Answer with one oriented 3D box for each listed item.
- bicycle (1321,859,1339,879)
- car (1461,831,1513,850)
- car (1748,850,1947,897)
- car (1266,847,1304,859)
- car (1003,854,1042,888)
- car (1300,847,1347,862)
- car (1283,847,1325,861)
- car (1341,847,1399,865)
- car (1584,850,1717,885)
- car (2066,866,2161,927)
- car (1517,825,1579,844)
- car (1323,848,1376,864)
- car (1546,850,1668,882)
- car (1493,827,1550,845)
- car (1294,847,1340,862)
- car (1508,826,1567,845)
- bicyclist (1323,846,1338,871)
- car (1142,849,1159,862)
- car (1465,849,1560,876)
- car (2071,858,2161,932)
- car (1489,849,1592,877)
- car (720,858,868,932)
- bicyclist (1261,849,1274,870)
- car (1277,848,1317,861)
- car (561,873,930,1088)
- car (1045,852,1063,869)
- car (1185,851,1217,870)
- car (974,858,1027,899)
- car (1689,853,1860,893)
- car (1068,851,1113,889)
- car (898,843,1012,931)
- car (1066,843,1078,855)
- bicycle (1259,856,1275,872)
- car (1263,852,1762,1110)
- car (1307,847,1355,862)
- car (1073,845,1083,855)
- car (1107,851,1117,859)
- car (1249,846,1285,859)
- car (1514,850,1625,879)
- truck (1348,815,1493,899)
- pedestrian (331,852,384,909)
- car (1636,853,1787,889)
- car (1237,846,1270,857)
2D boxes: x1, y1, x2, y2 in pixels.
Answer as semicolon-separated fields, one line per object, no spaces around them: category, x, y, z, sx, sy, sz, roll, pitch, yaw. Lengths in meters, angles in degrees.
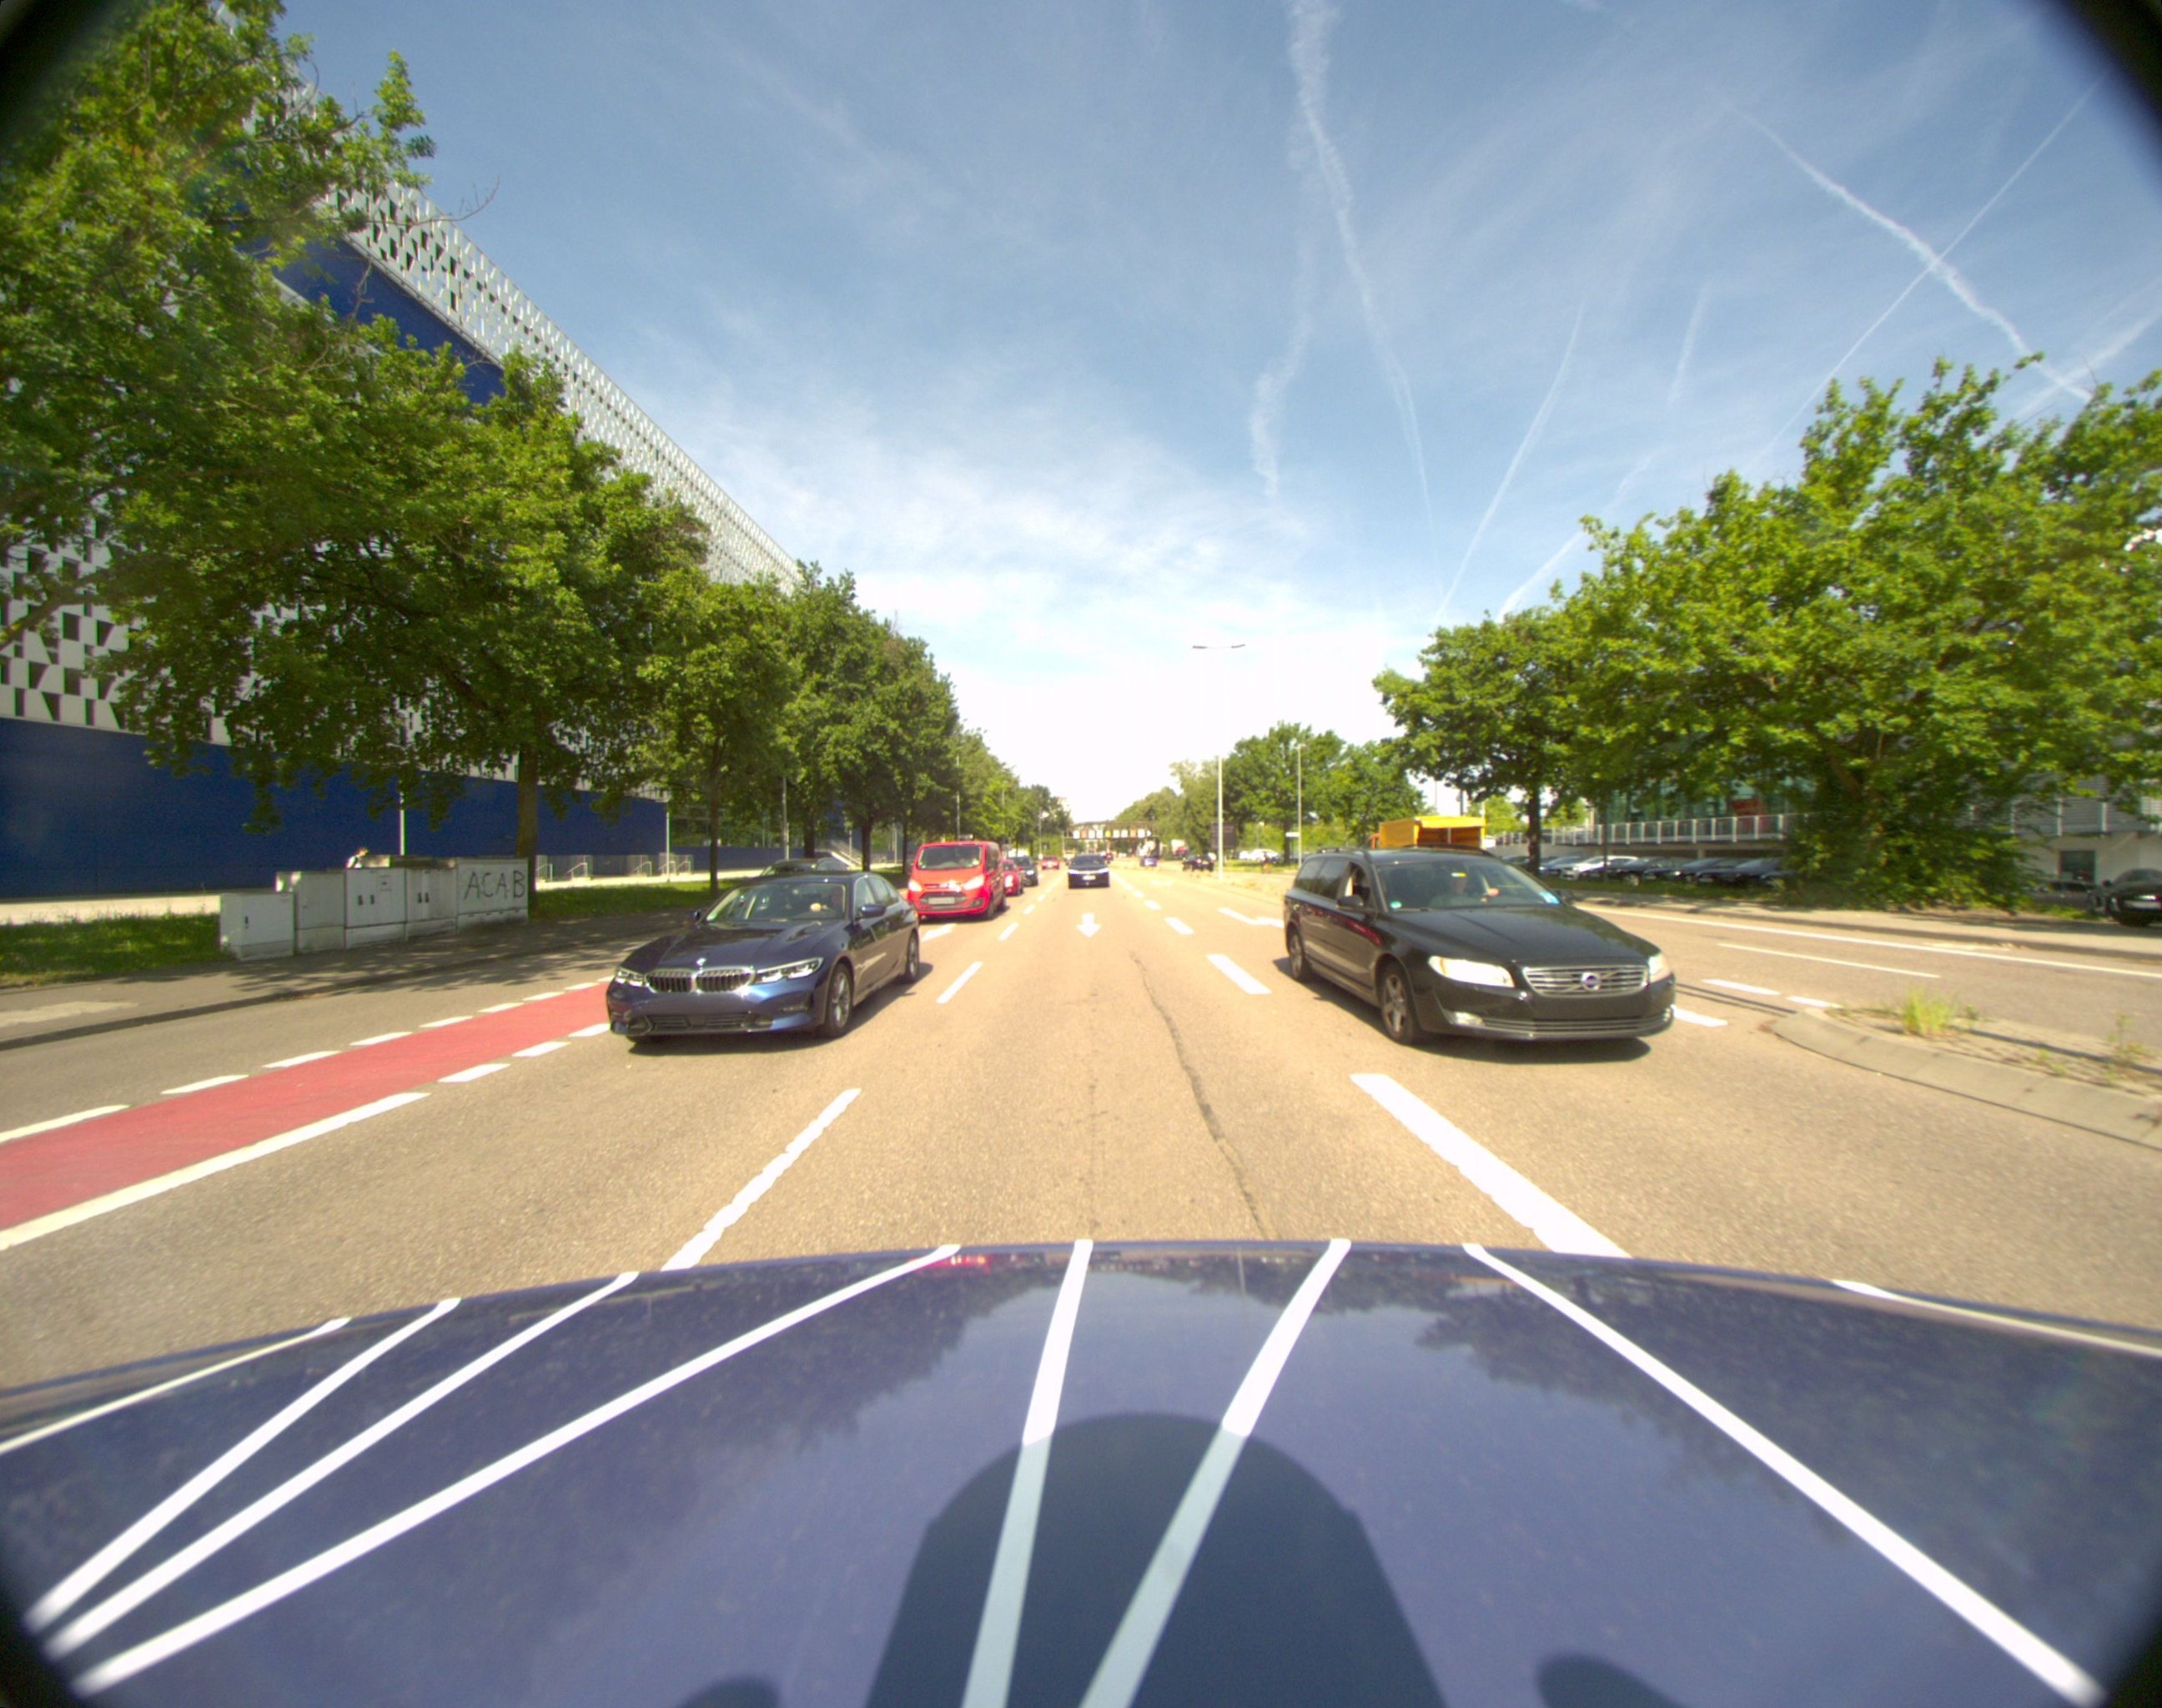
bicycle;14.634;0.852;44.702;0.572;1.143;1.925;0;1;3
car;40.474;-1.305;75.839;4.196;1.722;1.690;2;1;2
car;23.508;0.583;23.431;4.196;1.220;1.797;2;1;2
car;24.918;-0.107;93.032;4.196;1.315;1.690;2;1;2
car;-2.926;0.815;38.533;1.649;1.531;3.999;-3;0;-1
car;24.565;0.078;76.960;4.196;1.315;1.690;2;1;2
car;24.985;-0.003;85.195;4.196;1.315;1.690;2;1;2
car;24.356;0.188;64.197;4.196;1.315;1.690;2;1;2
car;23.602;0.548;31.595;4.196;1.239;1.690;2;1;2
car;25.979;0.983;18.439;1.685;1.325;3.848;0;0;39
car;40.094;-1.672;65.290;4.196;1.397;1.690;2;1;2
car;24.344;0.160;68.957;4.196;1.315;1.690;2;1;2
car;23.523;0.517;34.093;4.196;1.188;1.690;2;1;2
car;40.902;-1.677;70.643;4.196;1.490;1.690;2;1;2
car;24.805;0.043;79.973;4.196;1.315;1.690;2;1;2
car;40.780;-1.684;67.911;4.196;1.490;1.690;2;1;2
bicyclist;14.626;0.250;44.601;0.571;1.474;1.143;0;1;3
car;8.310;0.147;91.414;1.732;1.430;3.869;1;0;1
car;23.655;0.441;41.767;4.196;1.252;1.690;2;1;2
car;22.543;0.868;14.827;4.035;1.394;1.809;2;1;-1
car;23.548;0.442;39.072;4.196;1.247;1.690;2;1;2
car;-7.512;1.006;20.449;1.998;1.646;4.391;-2;1;4
bicyclist;13.967;0.394;56.947;0.578;1.587;0.910;1;1;-7
car;24.931;0.005;87.742;4.196;1.315;1.690;2;1;2
car;-2.958;1.001;7.950;1.800;1.421;4.537;-2;0;0
car;-2.730;0.657;77.922;1.649;1.531;3.999;-3;0;-1
car;10.129;0.516;64.235;1.851;1.451;4.663;2;0;-1
car;-3.085;0.909;29.840;1.692;1.414;3.915;-2;0;-1
car;23.598;0.618;25.980;4.196;1.128;1.695;2;1;2
car;0.409;0.691;34.942;1.848;1.531;3.999;-3;0;0
car;-3.034;0.724;19.361;2.014;1.896;4.809;-2;0;0
car;-1.607;-0.833;135.600;1.998;2.002;3.999;-3;1;0
bicycle;13.972;0.749;57.050;0.573;1.143;1.768;1;1;-7
car;3.246;0.775;7.111;1.882;1.513;4.868;-2;0;0
car;24.462;0.037;74.428;4.196;1.315;1.690;2;1;2
car;-0.565;-0.804;154.462;1.998;2.002;3.999;-3;1;0
car;5.943;0.194;146.845;1.866;1.503;4.000;0;0;2
car;24.089;-0.253;98.474;4.196;1.490;1.690;2;1;2
car;23.429;0.490;36.548;4.196;1.198;1.690;2;1;2
truck;11.910;0.078;27.398;2.381;2.609;6.673;1;0;2
pedestrian;-19.890;0.721;20.915;0.680;1.537;0.780;0;1;1
car;23.764;0.625;28.736;4.196;1.116;1.719;2;1;2
car;24.087;-0.344;106.259;4.196;1.371;1.690;2;1;2
